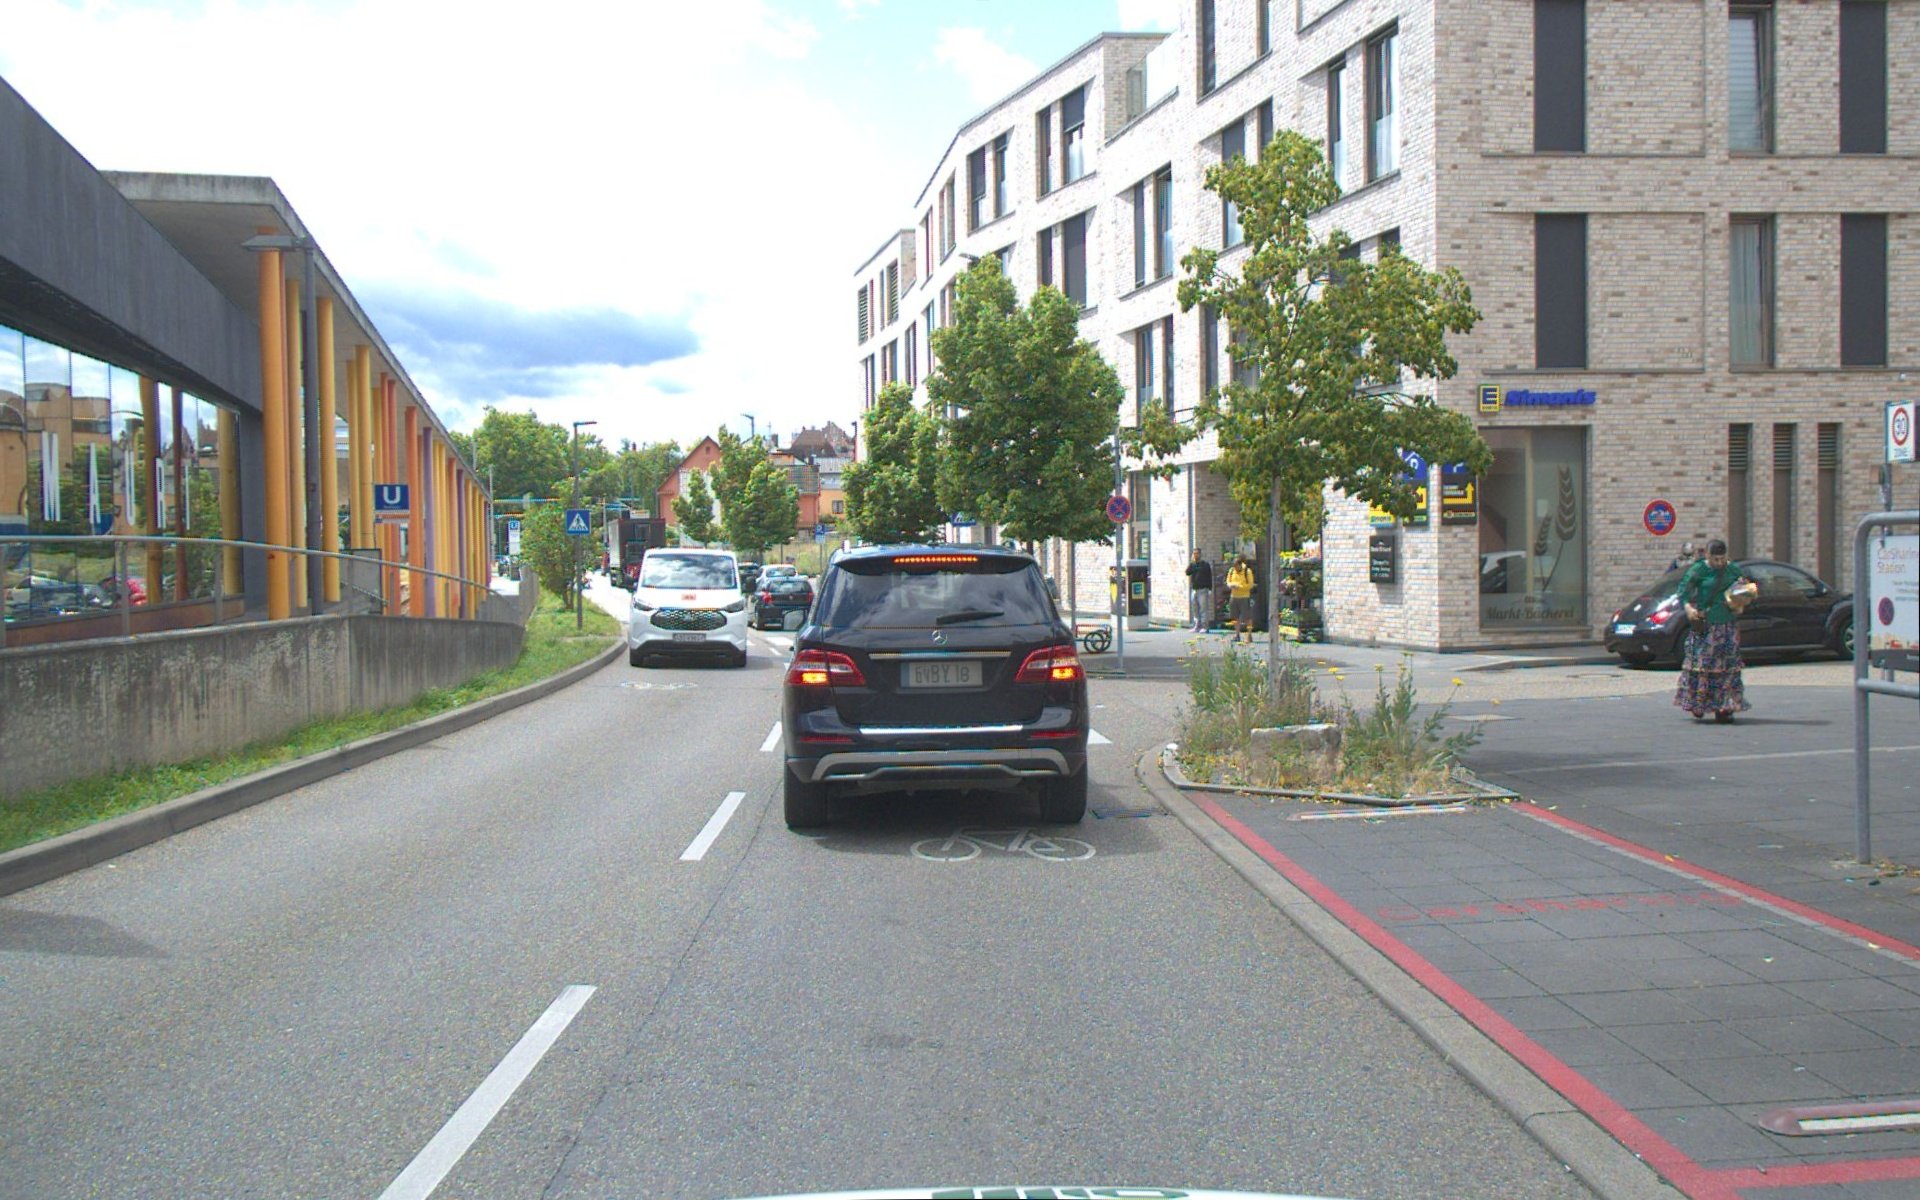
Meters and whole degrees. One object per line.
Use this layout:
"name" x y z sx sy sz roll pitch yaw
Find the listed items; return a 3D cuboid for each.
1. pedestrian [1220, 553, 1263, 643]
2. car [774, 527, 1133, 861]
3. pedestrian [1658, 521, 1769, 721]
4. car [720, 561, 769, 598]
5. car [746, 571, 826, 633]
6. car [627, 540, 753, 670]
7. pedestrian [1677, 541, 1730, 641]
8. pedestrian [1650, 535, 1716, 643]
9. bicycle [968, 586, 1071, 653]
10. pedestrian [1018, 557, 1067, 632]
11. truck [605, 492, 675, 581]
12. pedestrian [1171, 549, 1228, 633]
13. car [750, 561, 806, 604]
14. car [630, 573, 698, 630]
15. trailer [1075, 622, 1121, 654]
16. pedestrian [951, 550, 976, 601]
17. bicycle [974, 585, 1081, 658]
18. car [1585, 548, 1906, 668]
"pedestrian" 5.479 -0.036 32.183 0.644 1.722 0.631 -1 1 26
"car" -0.208 0.472 11.533 1.955 1.776 4.528 -3 1 -5
"pedestrian" 6.590 0.166 14.448 0.730 1.667 0.925 -2 2 31
"car" -9.603 -0.946 73.540 1.664 1.486 4.133 -3 2 -13
"car" -4.801 0.016 45.217 1.697 1.482 3.796 -2 2 -13
"car" -4.738 0.047 29.137 1.957 2.049 5.383 1 1 -9
"pedestrian" 12.086 -0.147 26.895 0.516 1.600 0.596 0 -1 -35
"pedestrian" 11.585 -0.172 26.512 0.549 1.700 0.806 0 -1 -35
"bicycle" 1.096 0.356 30.794 1.789 1.151 0.755 -2 1 -9
"pedestrian" 1.782 -0.111 35.893 0.799 1.592 0.926 0 -1 -16
"truck" -17.952 -3.426 92.362 3.150 4.615 8.991 0 0 -15
"pedestrian" 5.130 -0.198 35.510 0.999 1.772 0.656 -2 1 -19
"car" -7.130 -0.712 64.555 1.664 1.509 3.785 -3 2 -13
"car" -8.288 0.001 46.093 1.741 1.489 4.222 0 1 -12
"trailer" 2.495 0.688 29.966 0.705 0.537 0.811 -1 1 -5
"pedestrian" 0.095 -0.740 49.471 0.596 1.498 0.790 -2 2 -7
"bicycle" 1.211 0.378 29.972 1.789 1.221 0.755 -2 1 -9
"car" 11.334 0.084 24.009 3.819 1.502 1.781 -3 1 -6
